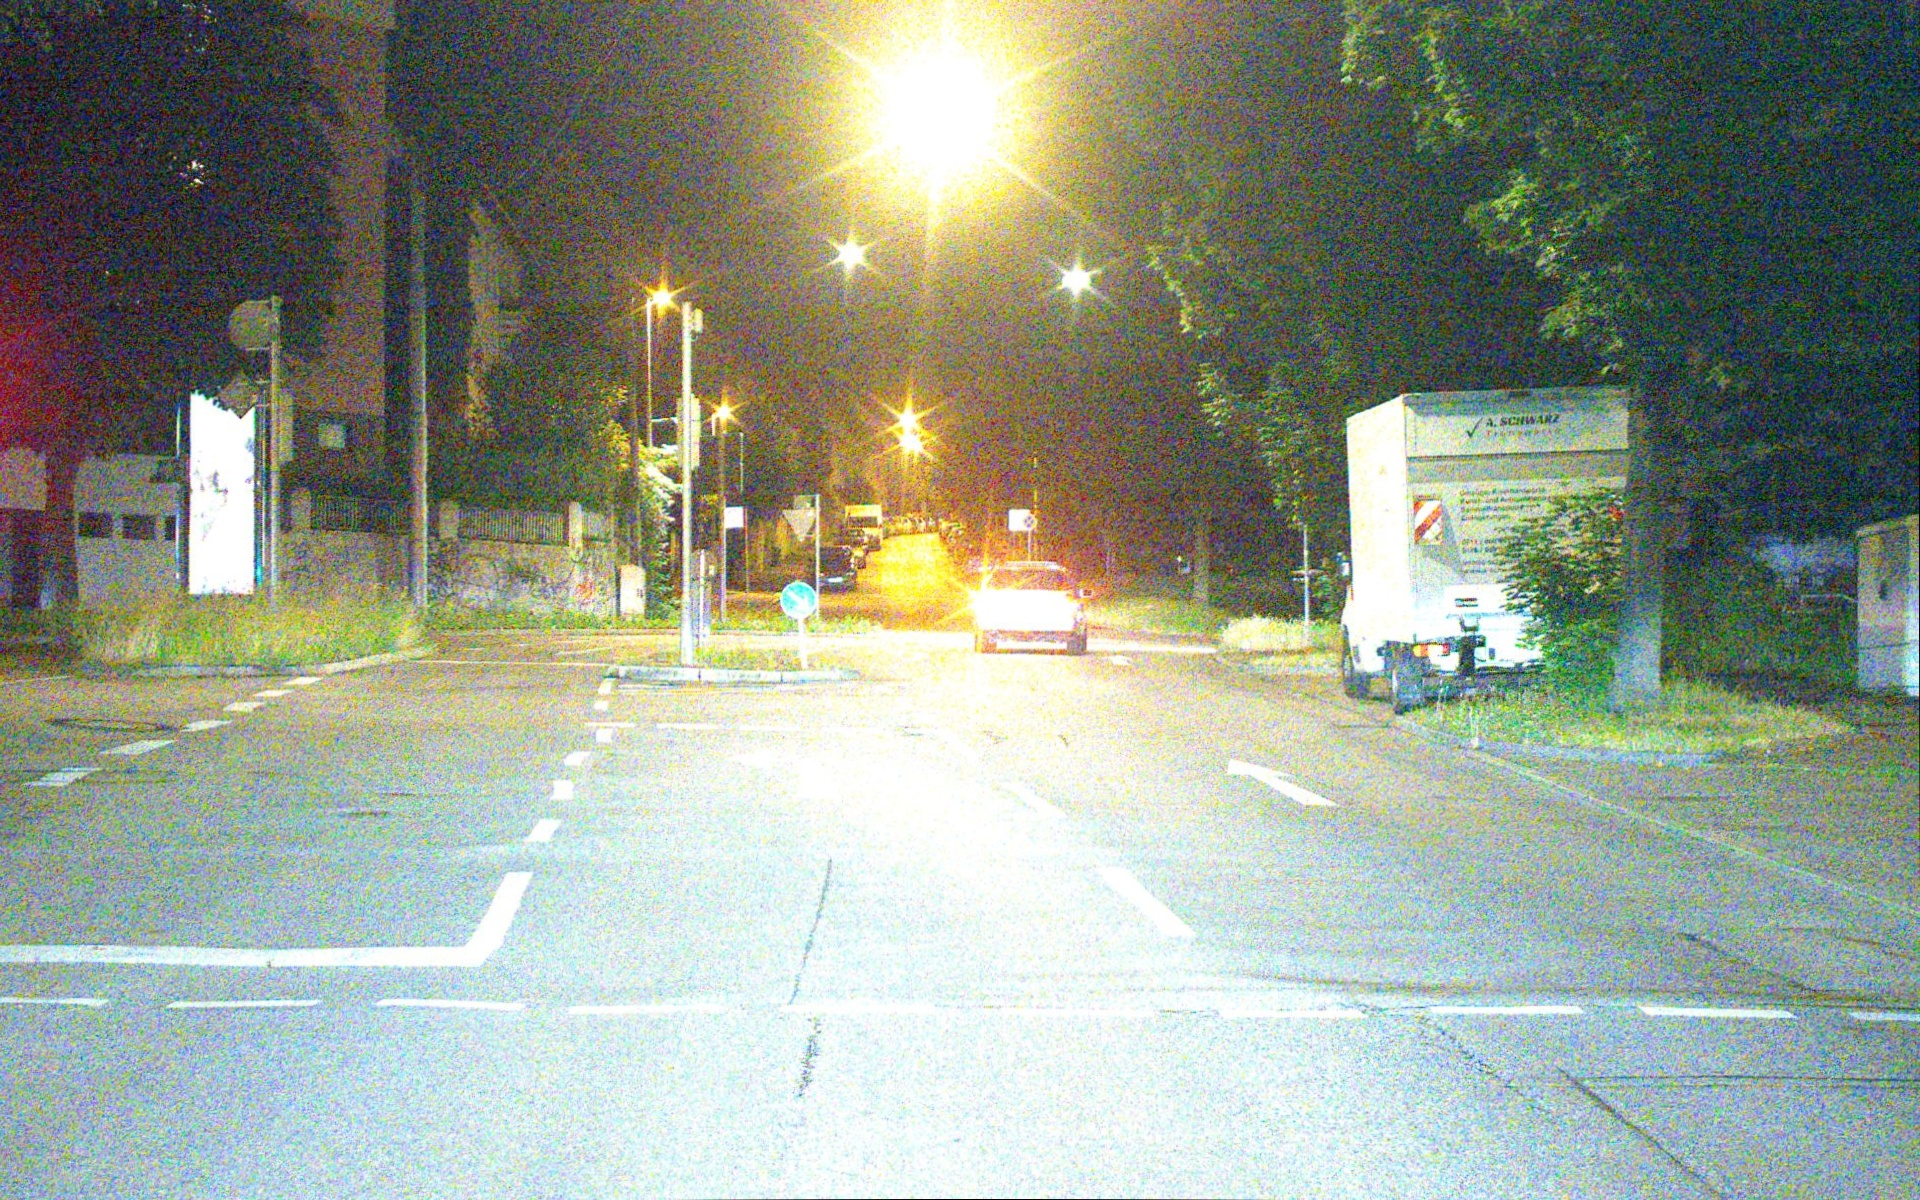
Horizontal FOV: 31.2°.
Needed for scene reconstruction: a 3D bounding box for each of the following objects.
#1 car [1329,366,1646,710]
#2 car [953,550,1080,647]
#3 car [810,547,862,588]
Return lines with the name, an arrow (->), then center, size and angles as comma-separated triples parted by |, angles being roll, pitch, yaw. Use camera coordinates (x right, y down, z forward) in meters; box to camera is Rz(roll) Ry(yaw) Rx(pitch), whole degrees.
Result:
car -> 5.119, -0.599, 34.234 | 2.297, 3.082, 5.840 | -1, 1, 1
car -> 0.870, -0.044, 55.351 | 1.776, 1.481, 4.000 | 1, 1, -3
car -> -4.839, -1.289, 134.388 | 1.908, 1.552, 3.904 | 1, 1, -1
